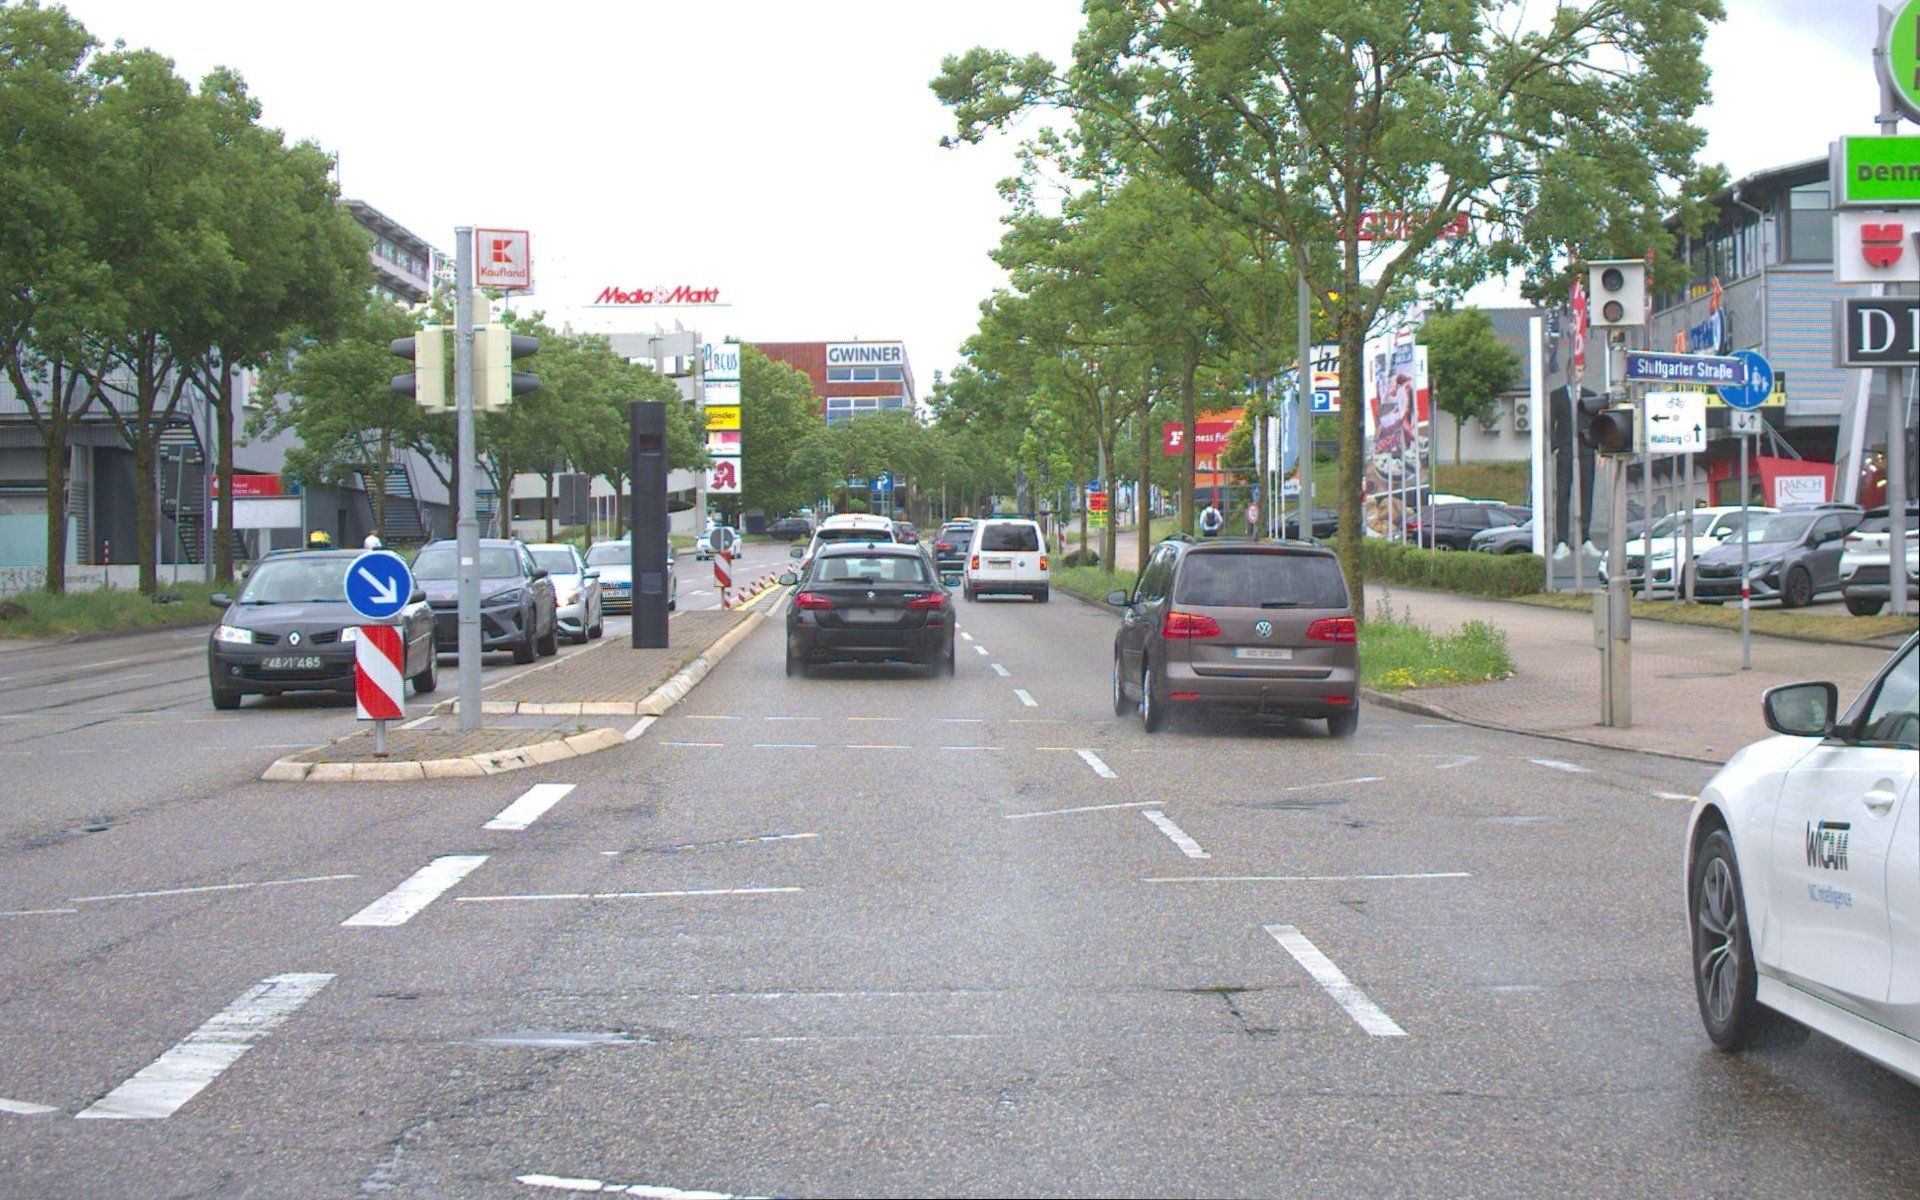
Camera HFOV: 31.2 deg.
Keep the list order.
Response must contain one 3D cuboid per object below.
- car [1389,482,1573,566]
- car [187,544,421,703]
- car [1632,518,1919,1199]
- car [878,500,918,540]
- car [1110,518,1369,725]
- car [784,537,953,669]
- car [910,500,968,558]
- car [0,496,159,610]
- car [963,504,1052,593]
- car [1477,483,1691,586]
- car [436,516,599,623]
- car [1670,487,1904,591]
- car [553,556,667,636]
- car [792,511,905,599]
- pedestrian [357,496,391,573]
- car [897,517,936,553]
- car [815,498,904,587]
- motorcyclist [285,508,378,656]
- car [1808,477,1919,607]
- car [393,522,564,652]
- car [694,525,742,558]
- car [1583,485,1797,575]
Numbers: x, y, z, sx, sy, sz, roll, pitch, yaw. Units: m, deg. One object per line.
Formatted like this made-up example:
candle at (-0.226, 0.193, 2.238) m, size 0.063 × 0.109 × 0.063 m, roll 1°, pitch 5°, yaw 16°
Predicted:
car at (12.375, -1.812, 81.861) m, size 4.111 × 1.898 × 1.800 m, roll -1°, pitch 1°, yaw 1°
car at (-6.101, 0.178, 32.353) m, size 1.682 × 1.372 × 4.001 m, roll -1°, pitch 1°, yaw -4°
car at (3.038, 0.600, 8.212) m, size 1.801 × 1.539 × 4.620 m, roll 1°, pitch 1°, yaw -2°
car at (-2.449, -3.136, 134.681) m, size 1.515 × 1.469 × 3.445 m, roll 1°, pitch 0°, yaw -1°
car at (2.292, 0.126, 29.245) m, size 1.801 × 1.581 × 4.451 m, roll 1°, pitch 1°, yaw 0°
car at (-1.009, 0.000, 38.348) m, size 1.781 × 1.393 × 4.000 m, roll 0°, pitch 1°, yaw -1°
car at (-0.628, -2.152, 104.728) m, size 1.685 × 1.678 × 3.403 m, roll 1°, pitch 0°, yaw 0°
car at (-16.364, -0.855, 63.872) m, size 1.993 × 2.007 × 4.000 m, roll 1°, pitch 0°, yaw 0°
car at (1.011, -1.128, 74.953) m, size 1.782 × 1.860 × 4.000 m, roll -1°, pitch 1°, yaw -1°
car at (12.830, -1.355, 70.877) m, size 4.111 × 2.098 × 1.800 m, roll 0°, pitch 1°, yaw 1°
car at (-6.389, -0.469, 50.126) m, size 1.840 × 1.372 × 4.863 m, roll -3°, pitch 1°, yaw -2°
car at (12.612, -0.940, 52.369) m, size 3.588 × 1.530 × 1.643 m, roll -2°, pitch 1°, yaw -40°
car at (-6.702, -0.099, 66.256) m, size 1.723 × 1.393 × 4.789 m, roll -3°, pitch 1°, yaw -1°
car at (-1.850, -0.749, 56.200) m, size 1.682 × 1.372 × 4.001 m, roll -1°, pitch 1°, yaw -4°
pedestrian at (-16.907, -1.880, 99.177) m, size 0.858 × 2.210 × 0.846 m, roll 0°, pitch 1°, yaw -4°
car at (-1.915, -2.830, 150.738) m, size 1.619 × 1.490 × 3.360 m, roll 1°, pitch 0°, yaw -1°
car at (-2.345, -1.330, 81.341) m, size 1.993 × 2.007 × 4.000 m, roll 1°, pitch 0°, yaw -1°
motorcyclist at (-6.748, -0.205, 36.955) m, size 0.806 × 1.554 × 1.268 m, roll 0°, pitch 1°, yaw -2°
car at (13.564, -0.846, 46.625) m, size 4.016 × 1.657 × 1.982 m, roll -4°, pitch 3°, yaw -40°
car at (-5.897, -0.202, 42.540) m, size 1.744 × 1.484 × 4.830 m, roll -1°, pitch 1°, yaw -4°
car at (-10.676, -2.597, 151.953) m, size 1.943 × 1.443 × 4.000 m, roll 0°, pitch 1°, yaw -1°
car at (12.733, -1.225, 59.917) m, size 3.588 × 1.530 × 1.796 m, roll -2°, pitch 1°, yaw -40°
